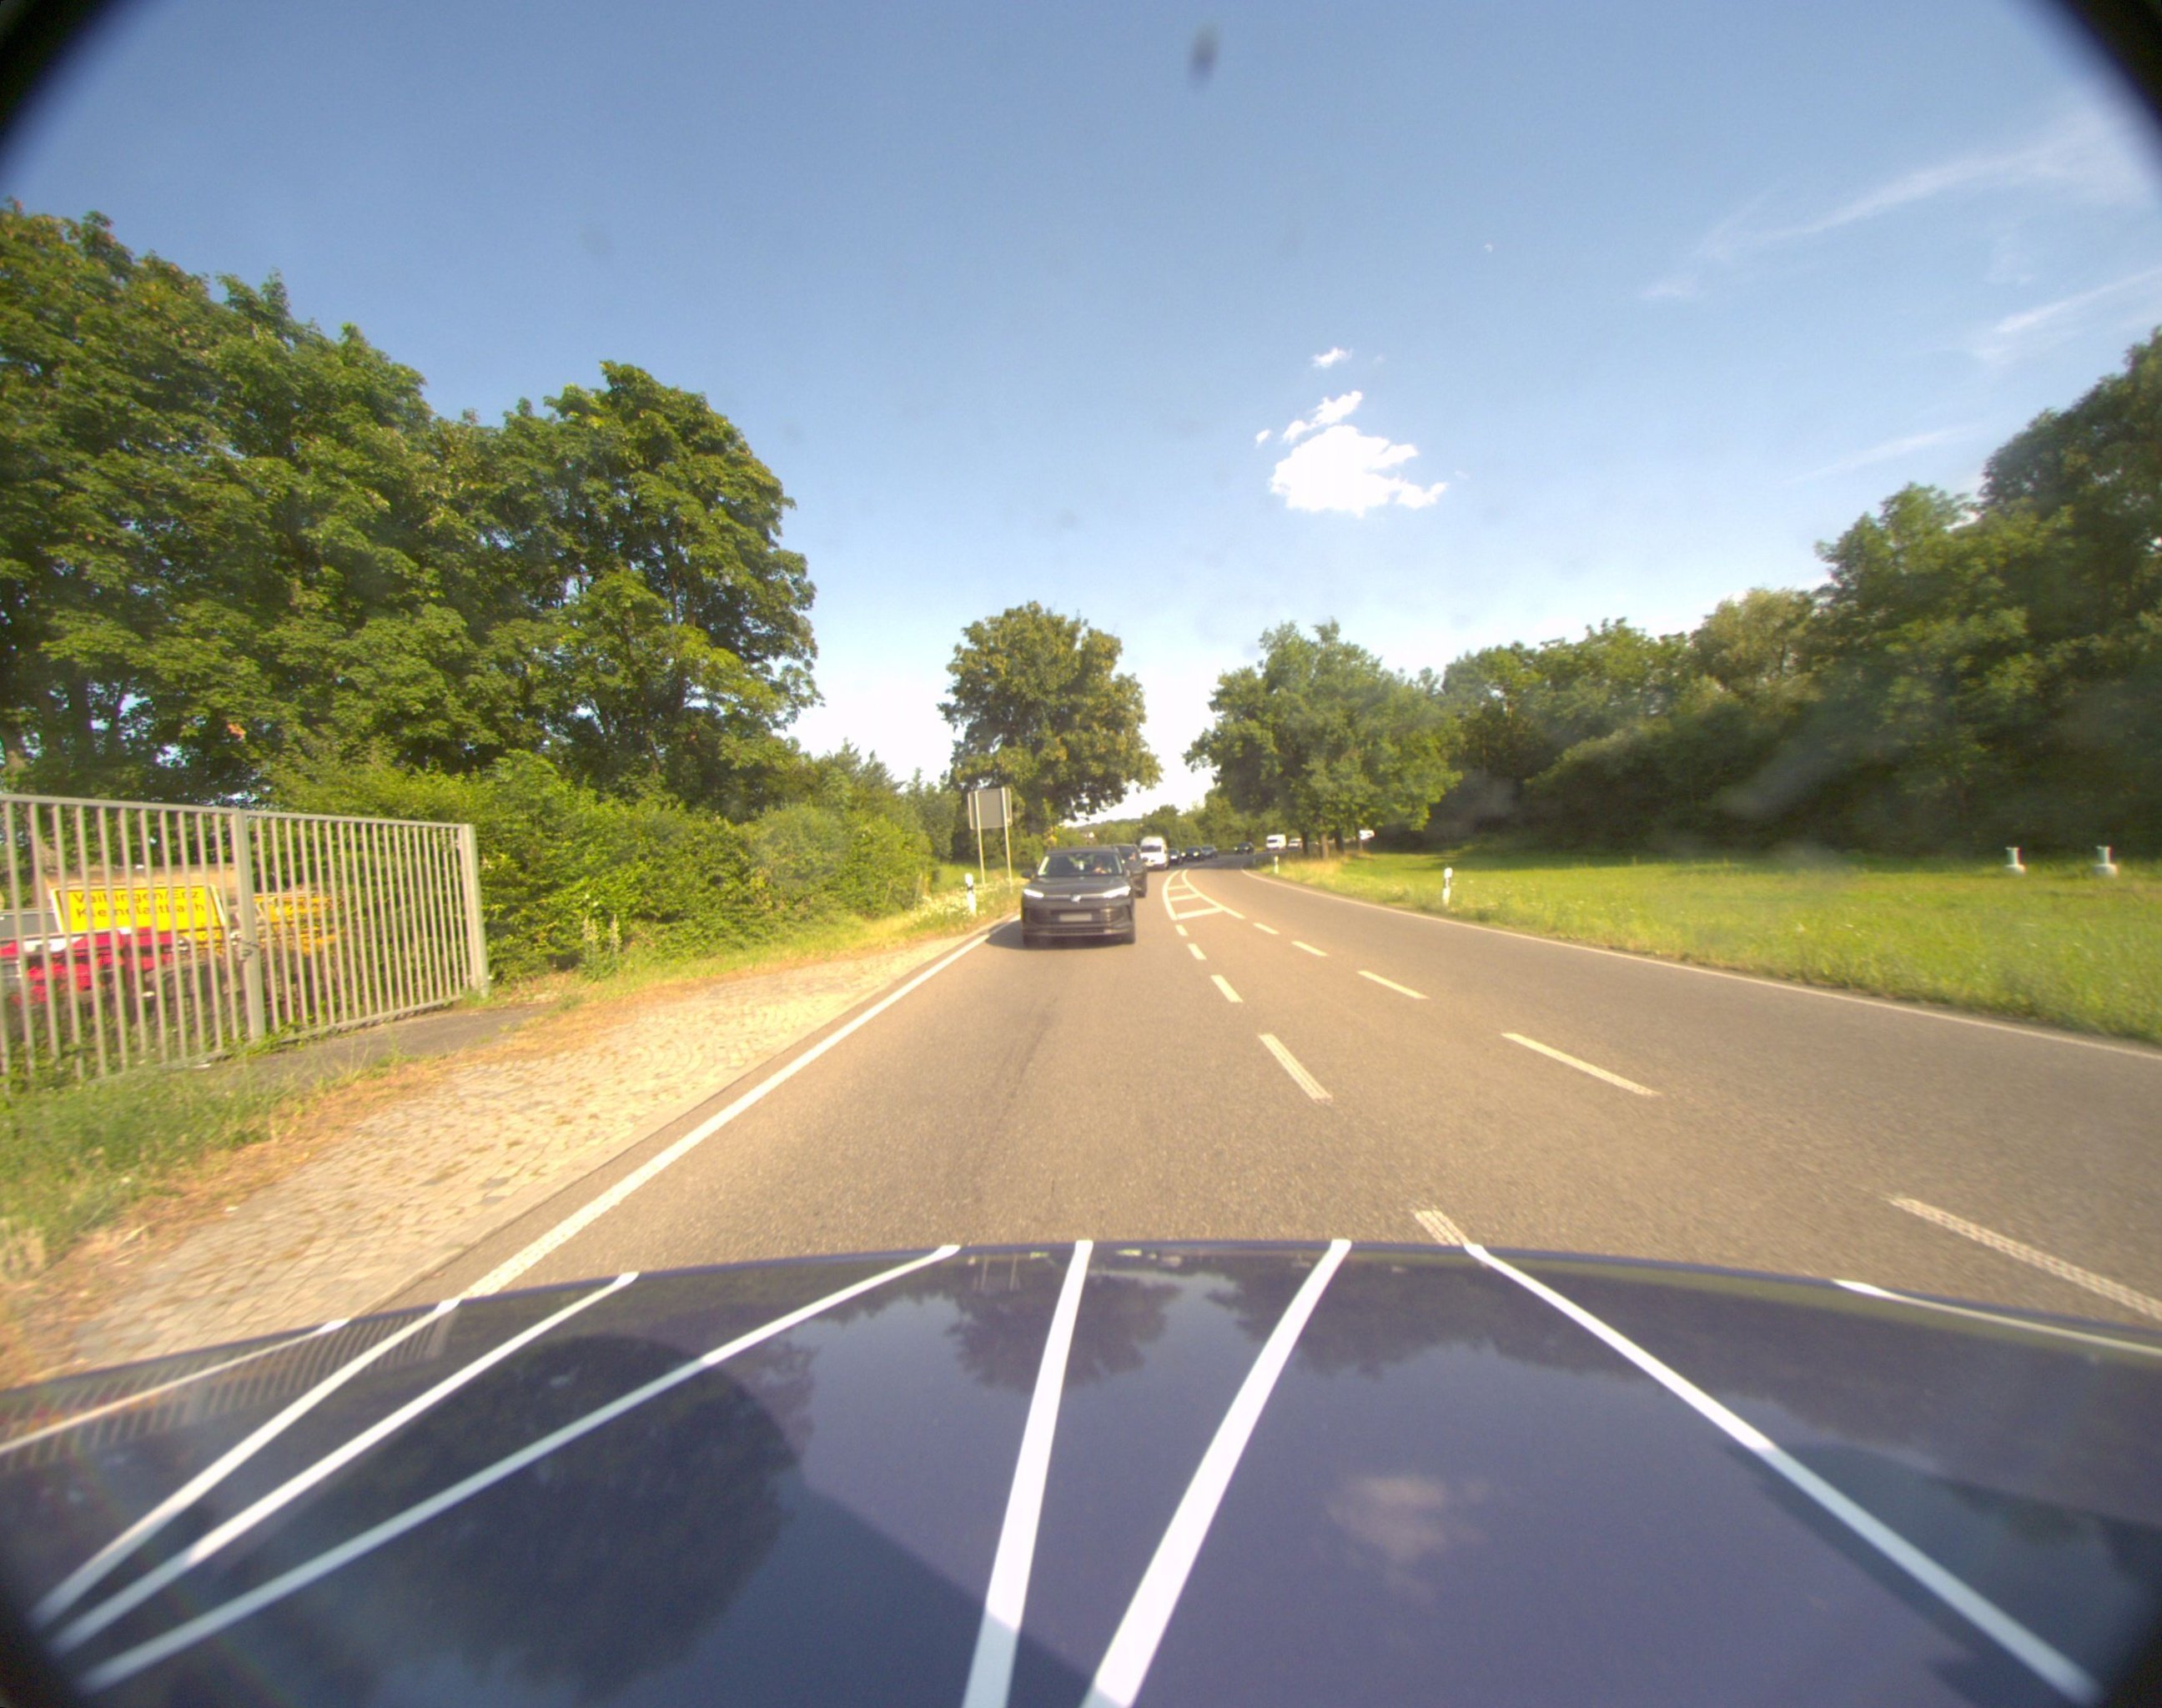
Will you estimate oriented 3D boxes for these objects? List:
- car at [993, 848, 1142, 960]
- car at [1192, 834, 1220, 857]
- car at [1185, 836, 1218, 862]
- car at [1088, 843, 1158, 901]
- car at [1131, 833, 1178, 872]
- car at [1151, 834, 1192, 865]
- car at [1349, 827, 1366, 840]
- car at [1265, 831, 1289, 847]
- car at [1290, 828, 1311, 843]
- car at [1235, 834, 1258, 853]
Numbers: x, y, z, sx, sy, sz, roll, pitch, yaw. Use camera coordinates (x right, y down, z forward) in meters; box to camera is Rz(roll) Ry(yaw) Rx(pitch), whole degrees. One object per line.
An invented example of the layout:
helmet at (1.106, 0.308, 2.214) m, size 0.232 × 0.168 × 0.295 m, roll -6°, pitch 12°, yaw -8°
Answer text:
car at (-0.025, 0.740, 13.737) m, size 1.921 × 1.612 × 4.704 m, roll -2°, pitch 0°, yaw 8°
car at (14.209, -1.045, 86.158) m, size 2.085 × 2.403 × 5.148 m, roll -2°, pitch 1°, yaw 21°
car at (12.104, -0.575, 76.214) m, size 2.085 × 2.403 × 5.148 m, roll -2°, pitch 1°, yaw 21°
car at (1.519, 0.544, 25.686) m, size 1.921 × 1.719 × 4.704 m, roll -2°, pitch 0°, yaw 8°
car at (5.090, -0.170, 52.019) m, size 2.086 × 2.403 × 5.147 m, roll -2°, pitch 1°, yaw 18°
car at (7.770, -0.420, 64.686) m, size 2.085 × 2.403 × 5.148 m, roll -2°, pitch 1°, yaw 21°
car at (56.054, -4.176, 154.163) m, size 2.084 × 2.403 × 5.151 m, roll -2°, pitch 2°, yaw 33°
car at (31.410, -2.443, 121.629) m, size 2.084 × 2.403 × 5.151 m, roll -2°, pitch 2°, yaw 33°
car at (38.225, -3.264, 132.274) m, size 2.084 × 2.403 × 5.151 m, roll -2°, pitch 2°, yaw 33°
car at (22.264, -1.458, 102.148) m, size 2.085 × 2.403 × 5.148 m, roll -2°, pitch 1°, yaw 21°
